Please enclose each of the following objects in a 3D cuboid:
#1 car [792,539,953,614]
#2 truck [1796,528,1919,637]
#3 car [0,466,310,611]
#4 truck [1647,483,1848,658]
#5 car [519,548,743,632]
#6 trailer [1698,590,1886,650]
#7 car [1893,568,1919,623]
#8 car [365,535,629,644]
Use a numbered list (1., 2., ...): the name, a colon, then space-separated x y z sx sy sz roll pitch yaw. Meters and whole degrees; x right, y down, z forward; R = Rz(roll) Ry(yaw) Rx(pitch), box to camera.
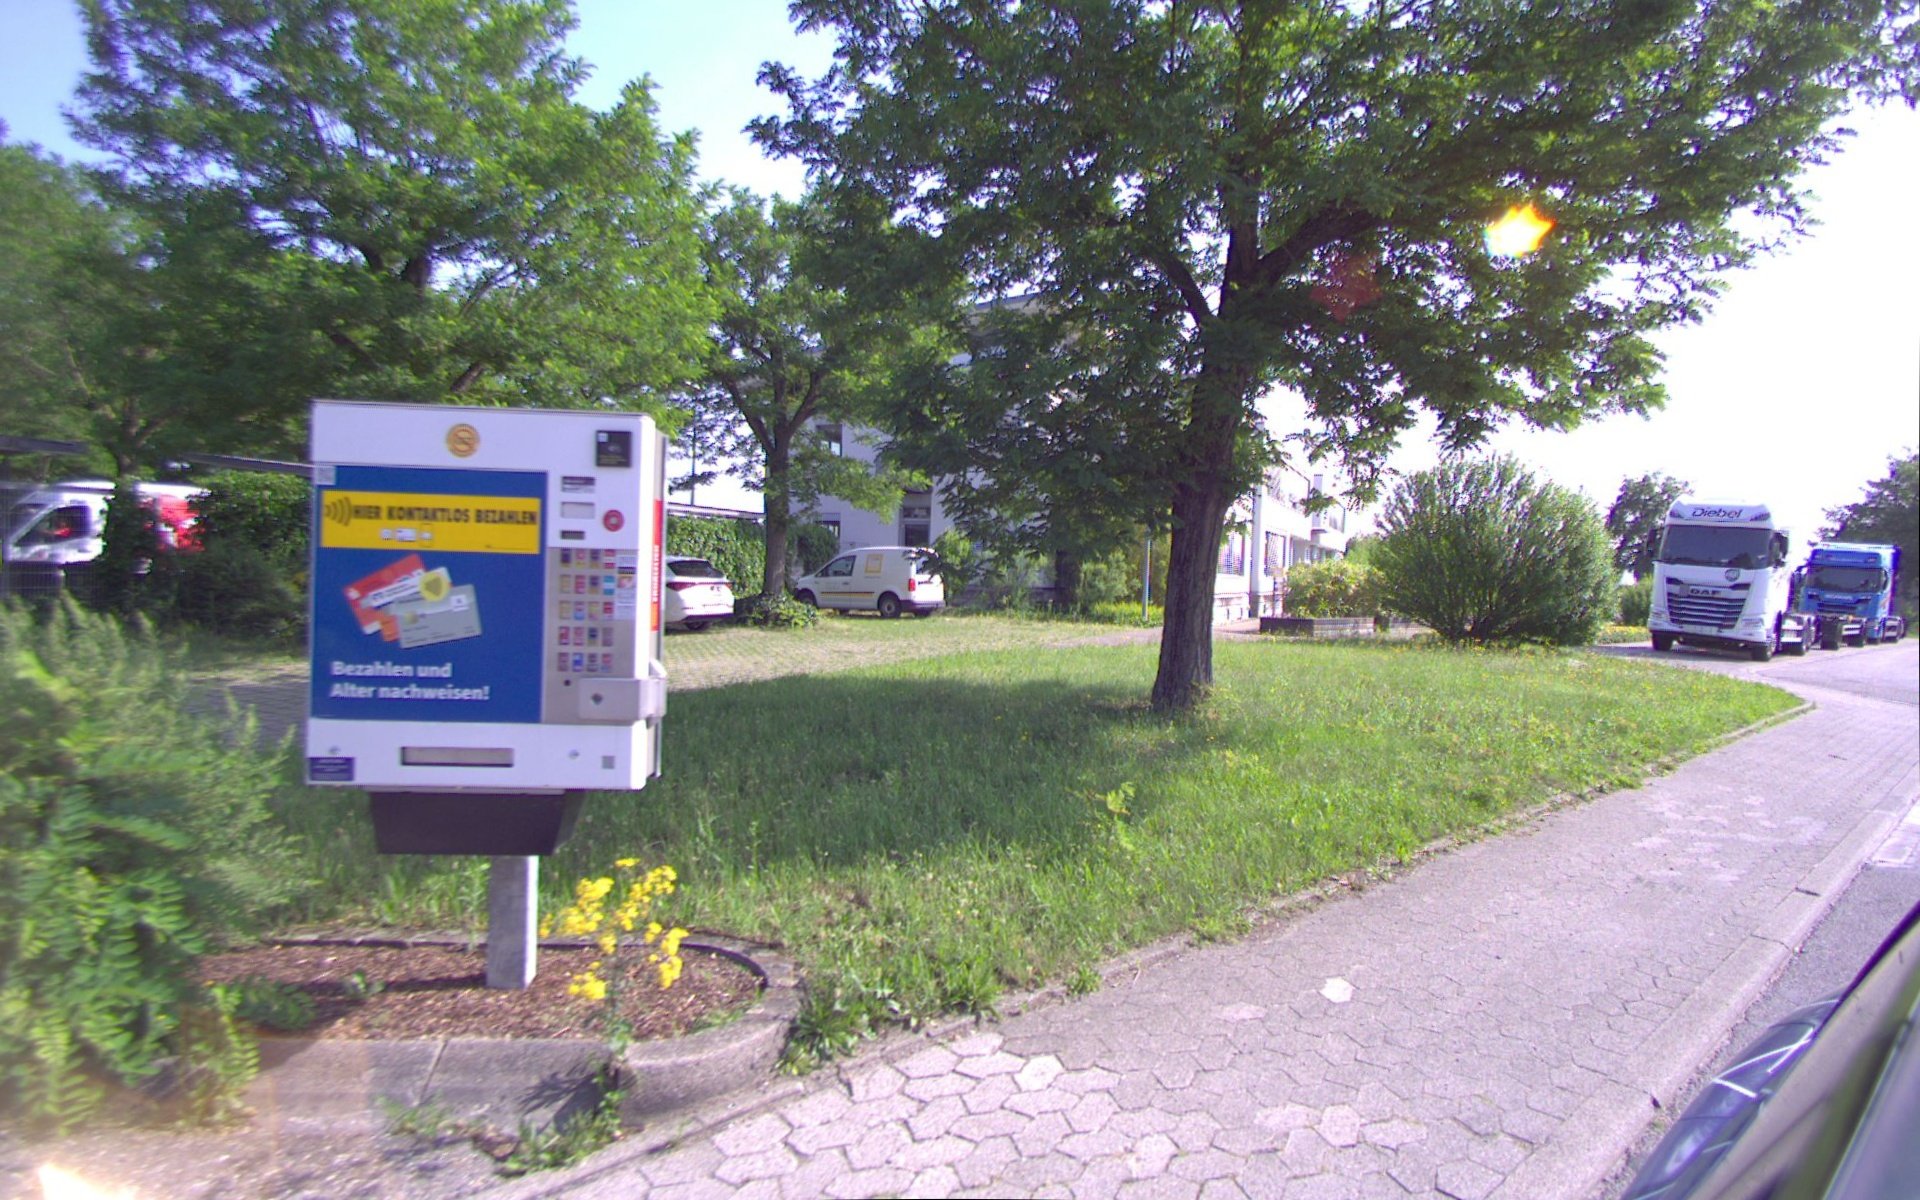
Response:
1. car: -2.292 -0.645 26.218 3.881 1.772 1.734 3 2 31
2. truck: 37.279 -0.680 41.628 10.399 3.988 3.040 0 2 -43
3. car: -17.492 -1.215 20.772 2.200 2.640 6.827 3 2 27
4. truck: 21.160 -0.790 26.977 8.434 4.029 2.558 0 4 -42
5. car: -6.176 -0.233 18.926 4.006 1.423 1.725 2 2 29
6. trailer: 26.823 0.493 32.200 13.894 1.408 2.552 0 5 -42
7. car: 59.967 -0.215 59.028 8.128 3.276 2.622 2 1 44
8. car: -7.381 -0.228 16.080 4.006 1.482 1.782 3 2 29
